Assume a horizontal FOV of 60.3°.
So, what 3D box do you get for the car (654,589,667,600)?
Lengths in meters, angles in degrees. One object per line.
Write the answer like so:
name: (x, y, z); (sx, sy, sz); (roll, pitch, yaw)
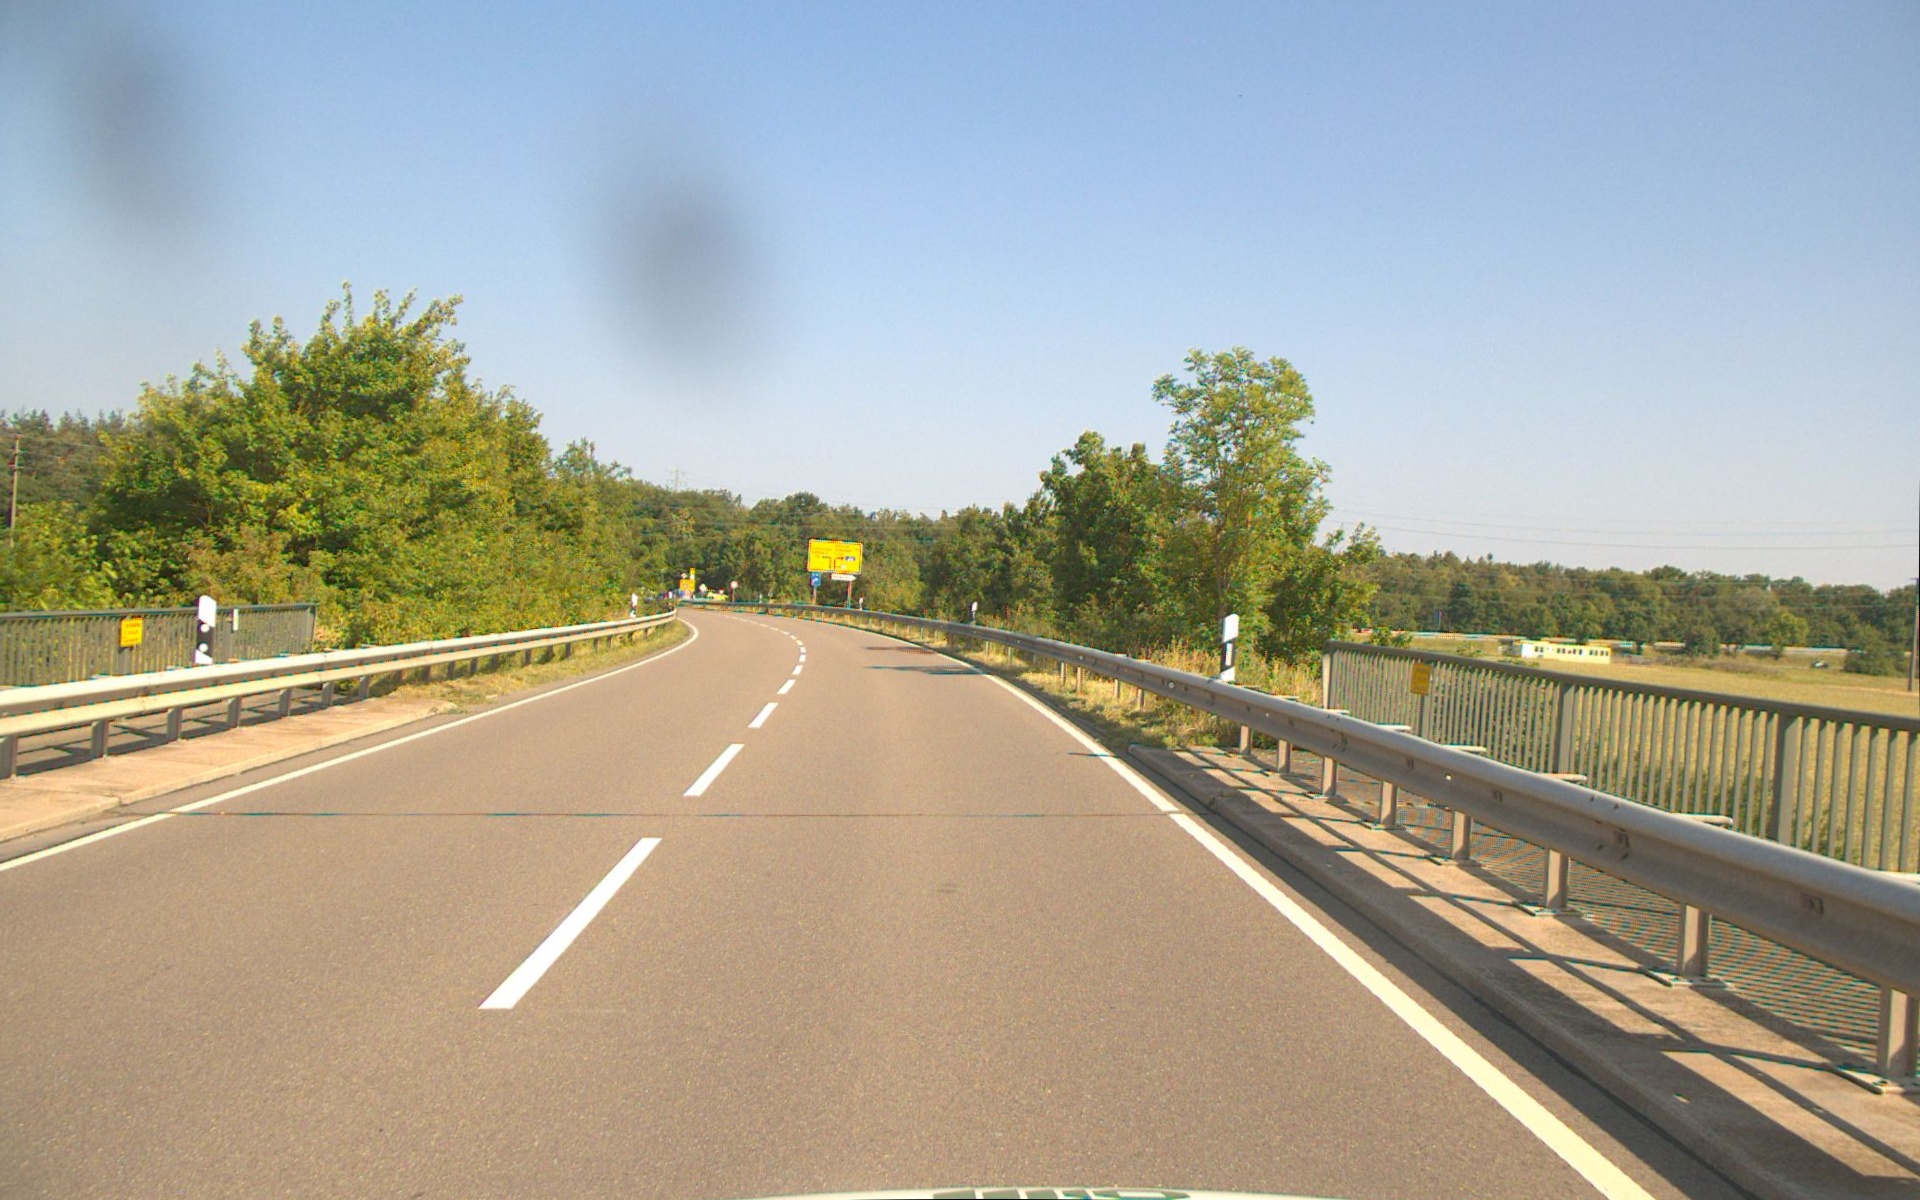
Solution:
car: (-43.907, -0.816, 242.681); (1.767, 1.422, 3.991); (-6, 1, -10)
